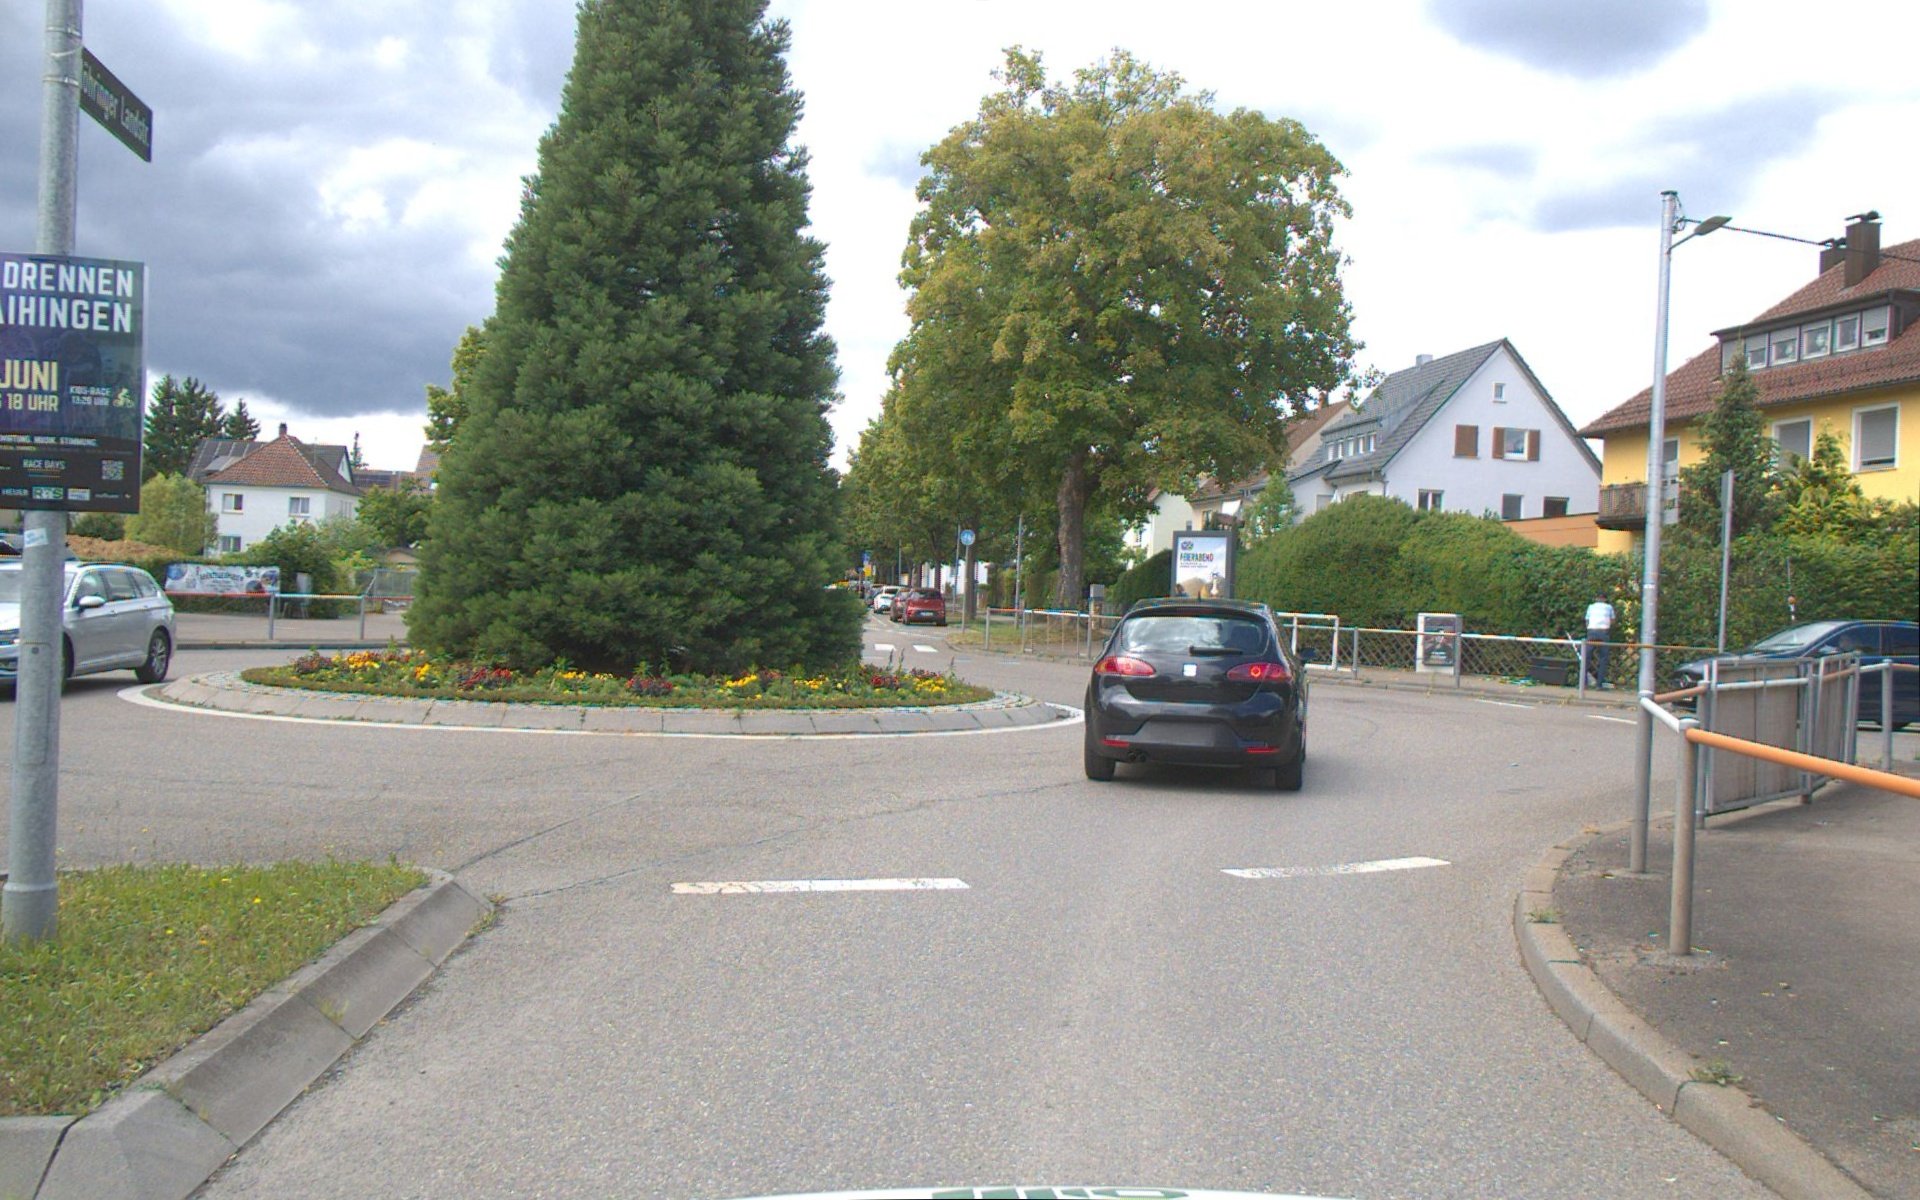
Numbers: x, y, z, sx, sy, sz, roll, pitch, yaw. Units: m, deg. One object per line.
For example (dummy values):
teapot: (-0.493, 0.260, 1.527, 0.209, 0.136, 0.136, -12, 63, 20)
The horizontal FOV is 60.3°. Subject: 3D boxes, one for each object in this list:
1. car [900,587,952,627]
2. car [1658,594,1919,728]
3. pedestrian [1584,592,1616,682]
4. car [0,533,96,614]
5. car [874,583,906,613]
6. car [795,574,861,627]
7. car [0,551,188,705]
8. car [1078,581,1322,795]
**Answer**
car: (-1.375, 0.251, 66.202, 1.449, 1.515, 3.372, 2, 0, -12)
car: (12.415, 0.861, 23.446, 4.309, 1.690, 1.649, 3, 0, -2)
pedestrian: (11.375, 0.647, 29.405, 0.480, 1.560, 0.485, 2, 0, 20)
car: (-20.340, -0.577, 34.733, 3.514, 1.639, 1.600, 1, 0, 1)
car: (-3.707, -0.122, 87.571, 1.563, 1.536, 3.597, 1, 0, -4)
car: (-4.465, 0.006, 55.524, 1.956, 1.641, 3.993, 2, 0, -8)
car: (-10.688, 0.247, 19.066, 1.832, 1.588, 4.255, 1, 0, -5)
car: (2.179, 0.634, 14.134, 1.695, 1.512, 4.003, 1, 0, 13)
